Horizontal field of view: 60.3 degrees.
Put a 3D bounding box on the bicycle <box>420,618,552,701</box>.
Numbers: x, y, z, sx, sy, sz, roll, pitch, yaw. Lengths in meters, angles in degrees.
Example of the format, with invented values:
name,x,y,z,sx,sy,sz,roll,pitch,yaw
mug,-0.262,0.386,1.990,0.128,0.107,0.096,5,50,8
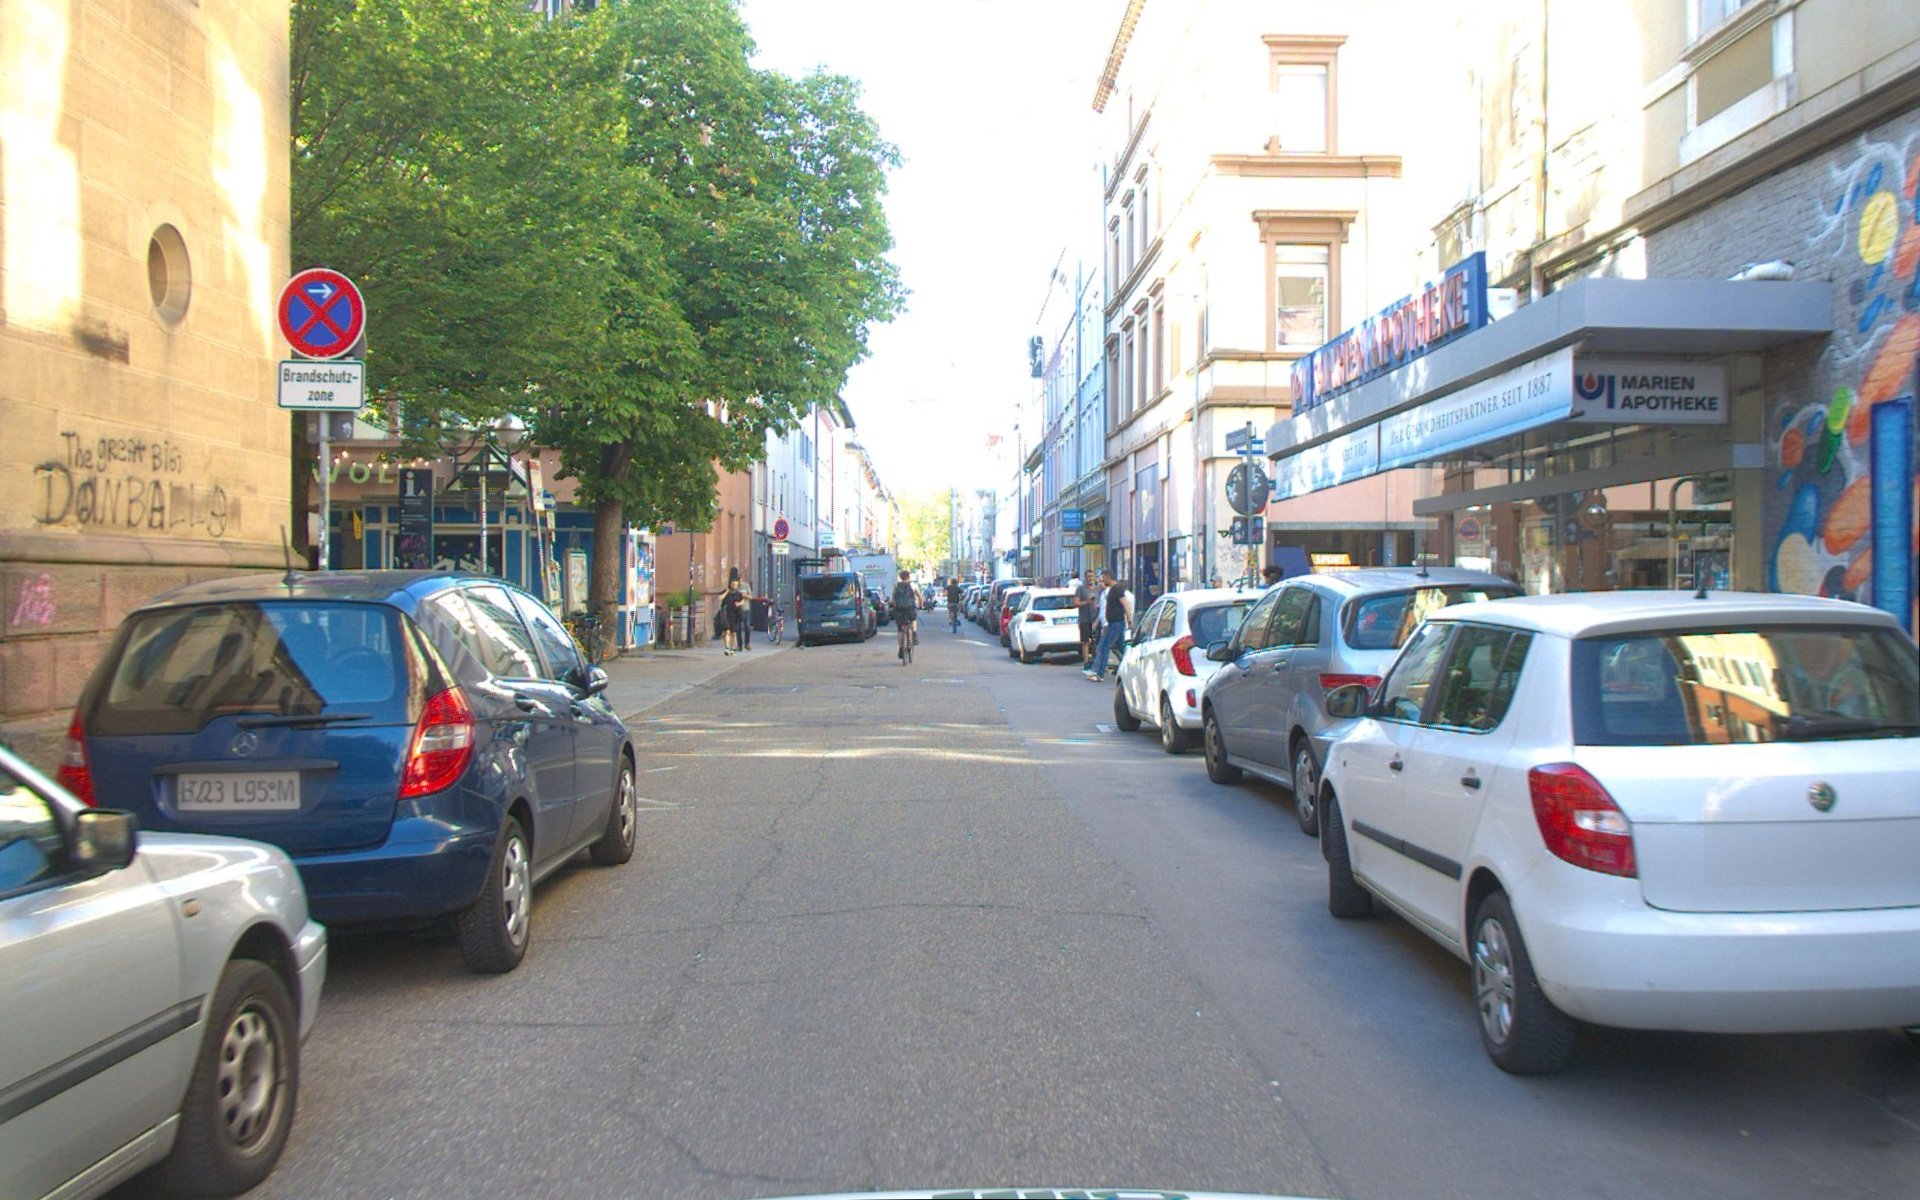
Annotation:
name,x,y,z,sx,sy,sz,roll,pitch,yaw
bicycle,-6.421,0.805,22.441,1.656,1.084,0.346,1,-1,-3

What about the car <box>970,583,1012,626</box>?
name,x,y,z,sx,sy,sz,roll,pitch,yaw
car,1.274,0.188,68.875,1.525,1.742,3.557,1,0,-2

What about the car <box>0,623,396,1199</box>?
name,x,y,z,sx,sy,sz,roll,pitch,yaw
car,-2.488,0.762,2.896,1.540,1.388,4.146,1,0,0

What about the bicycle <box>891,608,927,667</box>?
name,x,y,z,sx,sy,sz,roll,pitch,yaw
bicycle,-0.986,0.701,31.924,0.663,1.093,1.941,1,0,-2

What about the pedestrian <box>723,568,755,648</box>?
name,x,y,z,sx,sy,sz,roll,pitch,yaw
pedestrian,-5.271,0.191,39.468,0.633,1.866,0.697,2,-1,-2

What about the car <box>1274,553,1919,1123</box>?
name,x,y,z,sx,sy,sz,roll,pitch,yaw
car,2.461,0.670,6.656,1.523,1.553,4.200,1,0,-1

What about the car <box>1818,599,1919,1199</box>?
name,x,y,z,sx,sy,sz,roll,pitch,yaw
car,2.833,0.761,2.061,1.554,1.513,3.913,1,0,1

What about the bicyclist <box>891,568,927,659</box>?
name,x,y,z,sx,sy,sz,roll,pitch,yaw
bicyclist,-0.978,0.263,31.893,0.654,1.706,1.097,1,0,-2

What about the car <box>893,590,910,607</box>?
name,x,y,z,sx,sy,sz,roll,pitch,yaw
car,-5.926,-0.153,168.202,1.715,1.713,3.795,-1,0,-1

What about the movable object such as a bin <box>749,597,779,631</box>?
name,x,y,z,sx,sy,sz,roll,pitch,yaw
movable object such as a bin,-6.435,0.465,54.306,0.743,1.085,0.652,1,-1,18

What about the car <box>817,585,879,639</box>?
name,x,y,z,sx,sy,sz,roll,pitch,yaw
car,-3.526,0.382,52.553,1.715,1.548,3.868,-3,0,-1

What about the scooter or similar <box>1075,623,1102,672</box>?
name,x,y,z,sx,sy,sz,roll,pitch,yaw
scooter or similar,2.312,0.849,29.754,0.385,0.843,0.925,1,0,-1

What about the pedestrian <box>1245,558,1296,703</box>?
name,x,y,z,sx,sy,sz,roll,pitch,yaw
pedestrian,4.182,0.409,22.278,0.550,1.927,0.530,1,-1,-2

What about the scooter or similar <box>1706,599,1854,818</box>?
name,x,y,z,sx,sy,sz,roll,pitch,yaw
scooter or similar,5.144,0.653,10.419,0.387,1.302,1.036,1,0,-1

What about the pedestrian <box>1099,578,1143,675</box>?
name,x,y,z,sx,sy,sz,roll,pitch,yaw
pedestrian,2.812,0.453,28.850,0.519,1.667,0.561,0,-1,43

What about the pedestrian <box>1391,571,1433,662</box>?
name,x,y,z,sx,sy,sz,roll,pitch,yaw
pedestrian,8.869,0.319,32.448,0.677,1.756,0.475,1,-1,-2

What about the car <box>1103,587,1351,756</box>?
name,x,y,z,sx,sy,sz,roll,pitch,yaw
car,2.544,0.645,16.578,1.656,1.488,3.638,1,0,-4

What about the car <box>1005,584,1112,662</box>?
name,x,y,z,sx,sy,sz,roll,pitch,yaw
car,2.022,0.468,35.022,1.751,1.542,4.133,1,0,-3

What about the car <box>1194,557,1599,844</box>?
name,x,y,z,sx,sy,sz,roll,pitch,yaw
car,2.884,0.606,11.836,1.666,1.679,4.062,1,0,-2

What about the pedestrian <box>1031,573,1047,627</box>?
name,x,y,z,sx,sy,sz,roll,pitch,yaw
pedestrian,2.530,0.001,52.832,0.432,1.734,0.654,1,-1,-1

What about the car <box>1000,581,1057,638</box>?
name,x,y,z,sx,sy,sz,roll,pitch,yaw
car,2.045,0.284,50.070,1.537,1.584,3.314,-3,0,1

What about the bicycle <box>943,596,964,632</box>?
name,x,y,z,sx,sy,sz,roll,pitch,yaw
bicycle,-0.226,0.460,54.834,0.635,1.149,2.135,1,0,-1

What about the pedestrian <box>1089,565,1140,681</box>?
name,x,y,z,sx,sy,sz,roll,pitch,yaw
pedestrian,2.521,0.362,27.022,0.680,1.857,1.002,0,0,-3

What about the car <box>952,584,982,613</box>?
name,x,y,z,sx,sy,sz,roll,pitch,yaw
car,0.454,-0.110,111.623,1.715,1.911,3.969,-1,0,-4

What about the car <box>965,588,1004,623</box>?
name,x,y,z,sx,sy,sz,roll,pitch,yaw
car,1.154,0.274,79.925,1.652,1.570,4.045,-2,0,-2

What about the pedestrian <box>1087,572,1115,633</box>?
name,x,y,z,sx,sy,sz,roll,pitch,yaw
pedestrian,4.153,0.077,48.832,0.618,1.771,0.656,1,-1,-14

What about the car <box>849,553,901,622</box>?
name,x,y,z,sx,sy,sz,roll,pitch,yaw
car,-4.336,-0.618,85.380,2.296,3.349,7.153,-2,0,-1

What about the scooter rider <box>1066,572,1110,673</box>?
name,x,y,z,sx,sy,sz,roll,pitch,yaw
scooter rider,2.322,0.396,30.025,0.553,1.809,0.609,1,-1,34

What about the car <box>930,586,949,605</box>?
name,x,y,z,sx,sy,sz,roll,pitch,yaw
car,-1.801,-0.409,145.133,1.578,1.587,3.609,0,0,-1

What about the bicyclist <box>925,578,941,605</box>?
name,x,y,z,sx,sy,sz,roll,pitch,yaw
bicyclist,-1.675,-0.542,103.716,0.931,1.656,0.953,-2,0,-1

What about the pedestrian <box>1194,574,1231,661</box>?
name,x,y,z,sx,sy,sz,roll,pitch,yaw
pedestrian,4.957,0.328,32.465,0.588,1.678,0.464,1,2,30

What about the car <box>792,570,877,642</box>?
name,x,y,z,sx,sy,sz,roll,pitch,yaw
car,-3.536,0.134,47.340,1.979,1.912,5.297,1,1,0

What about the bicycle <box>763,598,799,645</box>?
name,x,y,z,sx,sy,sz,roll,pitch,yaw
bicycle,-4.822,0.571,44.478,0.541,1.238,1.978,1,0,-18

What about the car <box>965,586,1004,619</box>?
name,x,y,z,sx,sy,sz,roll,pitch,yaw
car,1.273,0.118,88.031,1.879,1.735,4.365,0,0,-2

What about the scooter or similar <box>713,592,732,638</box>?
name,x,y,z,sx,sy,sz,roll,pitch,yaw
scooter or similar,-6.553,0.414,45.671,0.340,1.238,1.391,1,0,-2

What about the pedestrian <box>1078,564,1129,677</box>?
name,x,y,z,sx,sy,sz,roll,pitch,yaw
pedestrian,2.421,0.341,27.939,0.746,1.867,0.688,1,-1,-3

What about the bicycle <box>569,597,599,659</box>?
name,x,y,z,sx,sy,sz,roll,pitch,yaw
bicycle,-7.348,0.534,32.306,0.488,1.151,2.030,1,1,-14

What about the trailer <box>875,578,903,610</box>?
name,x,y,z,sx,sy,sz,roll,pitch,yaw
trailer,-4.933,-0.407,114.816,1.844,2.129,3.736,-1,0,-2

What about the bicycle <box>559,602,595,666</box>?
name,x,y,z,sx,sy,sz,roll,pitch,yaw
bicycle,-6.776,0.595,29.324,0.286,1.064,1.578,1,1,-1

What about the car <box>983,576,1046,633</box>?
name,x,y,z,sx,sy,sz,roll,pitch,yaw
car,1.805,0.147,55.872,1.861,1.825,4.313,1,0,-2

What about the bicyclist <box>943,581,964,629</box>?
name,x,y,z,sx,sy,sz,roll,pitch,yaw
bicyclist,-0.225,0.162,54.817,0.657,1.595,0.716,1,-1,-1

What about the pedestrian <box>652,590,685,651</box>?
name,x,y,z,sx,sy,sz,roll,pitch,yaw
pedestrian,-7.123,0.497,40.431,0.691,1.470,0.617,1,-1,-2

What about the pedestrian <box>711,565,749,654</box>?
name,x,y,z,sx,sy,sz,roll,pitch,yaw
pedestrian,-4.991,0.203,35.882,0.702,1.906,0.720,1,-1,-2

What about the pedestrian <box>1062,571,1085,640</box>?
name,x,y,z,sx,sy,sz,roll,pitch,yaw
pedestrian,2.945,0.141,42.958,0.549,1.771,0.427,1,-1,-2

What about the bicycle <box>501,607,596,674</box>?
name,x,y,z,sx,sy,sz,roll,pitch,yaw
bicycle,-7.026,0.690,28.248,1.540,1.101,0.347,1,-1,9

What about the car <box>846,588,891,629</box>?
name,x,y,z,sx,sy,sz,roll,pitch,yaw
car,-3.798,0.332,68.961,1.682,1.504,4.498,-3,1,-2

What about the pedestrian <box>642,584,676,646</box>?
name,x,y,z,sx,sy,sz,roll,pitch,yaw
pedestrian,-7.209,0.364,39.634,0.691,1.470,0.617,1,-1,-2

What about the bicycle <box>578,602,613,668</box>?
name,x,y,z,sx,sy,sz,roll,pitch,yaw
bicycle,-6.455,0.598,29.324,0.286,1.101,1.578,1,1,-1

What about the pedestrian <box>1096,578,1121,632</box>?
name,x,y,z,sx,sy,sz,roll,pitch,yaw
pedestrian,4.314,0.149,48.109,0.576,1.556,0.658,1,-1,-7

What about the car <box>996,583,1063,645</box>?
name,x,y,z,sx,sy,sz,roll,pitch,yaw
car,1.866,0.384,45.163,1.574,1.600,3.552,1,0,-1

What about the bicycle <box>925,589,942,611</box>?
name,x,y,z,sx,sy,sz,roll,pitch,yaw
bicycle,-1.650,-0.034,103.750,0.957,1.337,2.555,-1,0,0

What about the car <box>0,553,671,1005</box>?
name,x,y,z,sx,sy,sz,roll,pitch,yaw
car,-2.570,0.646,7.793,1.757,1.579,3.833,1,0,-1
